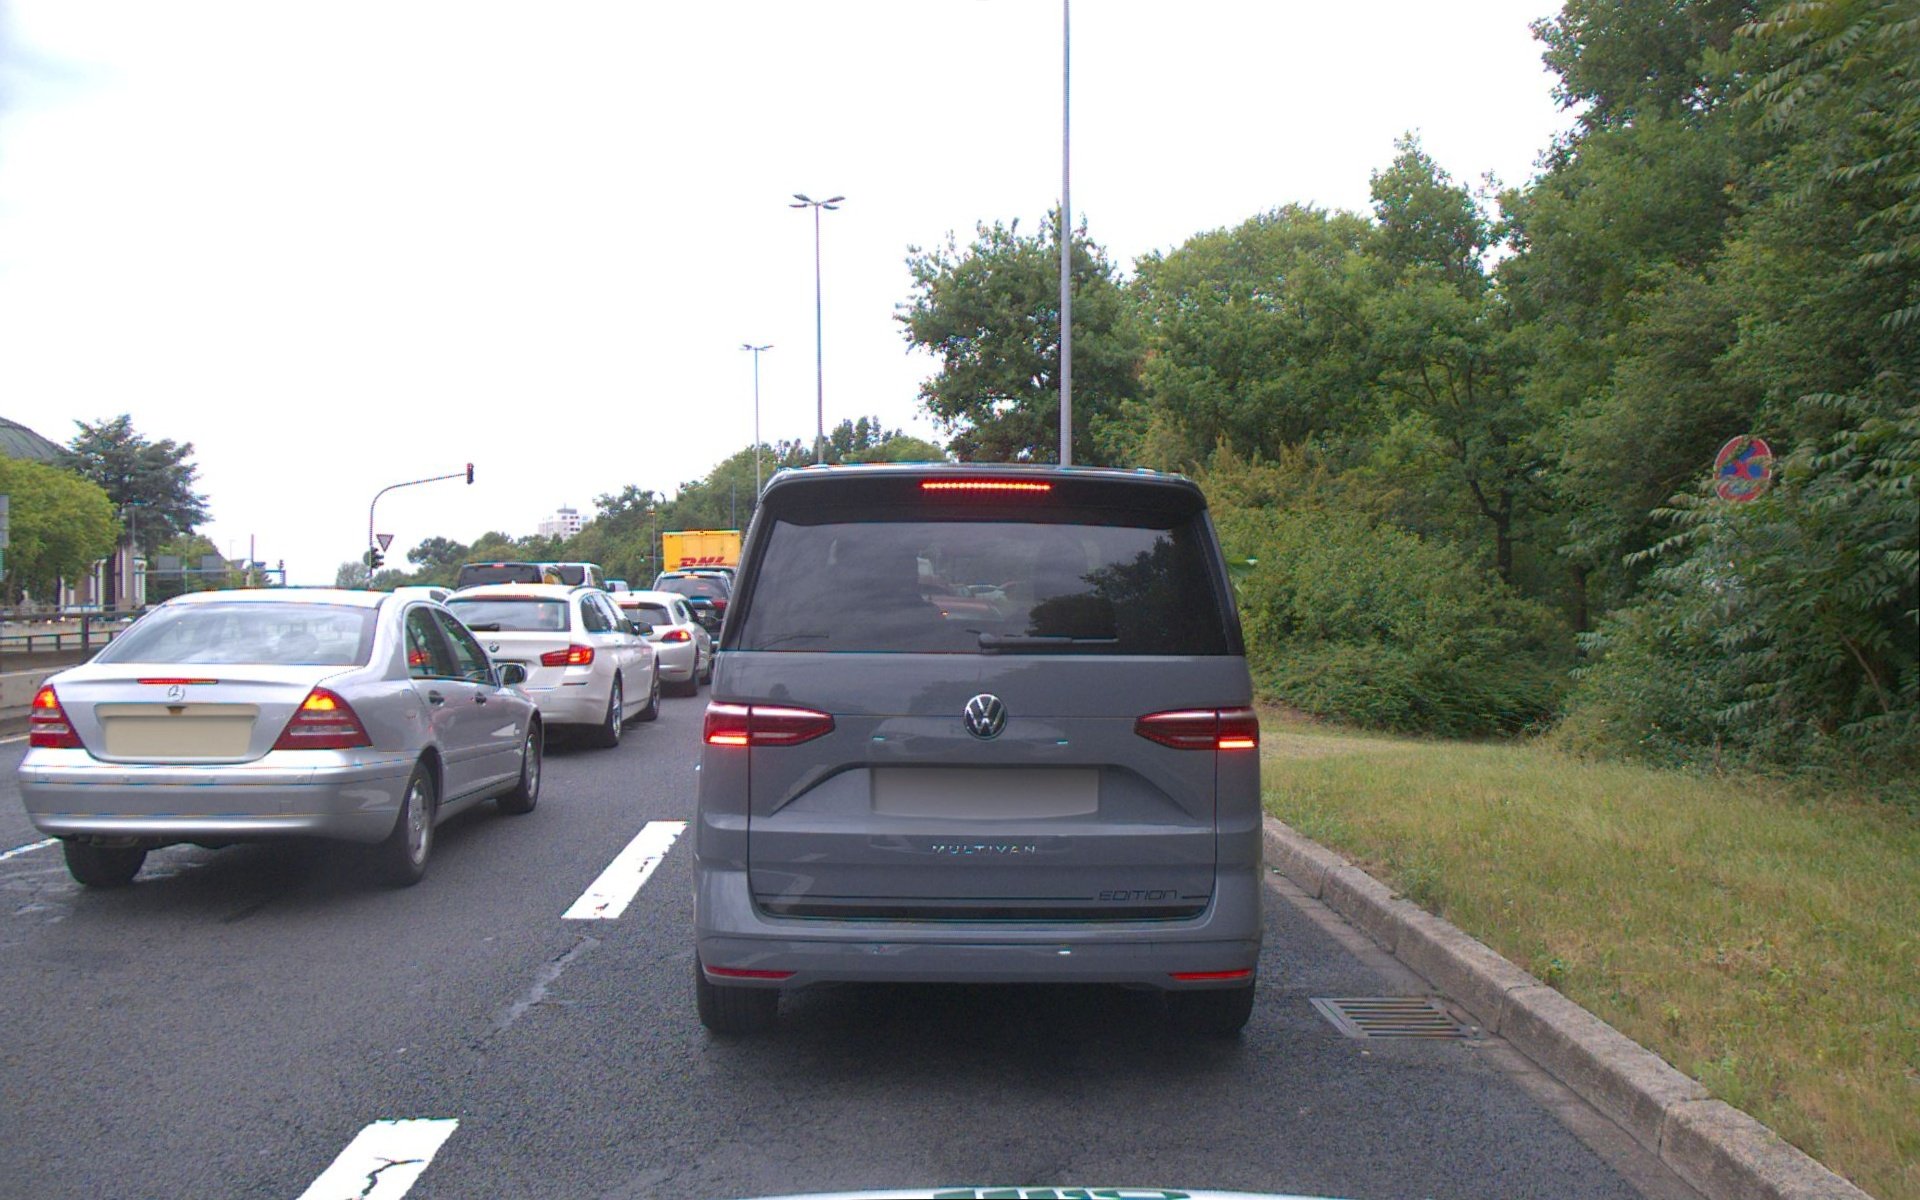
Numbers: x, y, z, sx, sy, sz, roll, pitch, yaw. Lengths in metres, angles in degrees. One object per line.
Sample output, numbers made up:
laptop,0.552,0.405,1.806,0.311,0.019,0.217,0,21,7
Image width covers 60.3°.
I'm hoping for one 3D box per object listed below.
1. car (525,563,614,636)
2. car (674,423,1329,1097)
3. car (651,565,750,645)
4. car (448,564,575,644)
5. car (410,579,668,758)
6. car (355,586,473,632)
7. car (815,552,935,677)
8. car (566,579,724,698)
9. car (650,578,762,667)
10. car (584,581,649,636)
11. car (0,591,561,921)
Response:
car,-9.761,-0.023,41.589,1.592,1.731,4.291,1,0,-5
car,0.119,0.457,6.956,1.860,1.917,4.415,1,0,0
car,-5.972,0.097,38.452,1.847,1.730,4.426,1,0,-4
car,-9.055,0.074,33.722,1.591,1.521,4.294,1,0,-3
car,-3.999,0.582,16.425,1.591,1.521,4.544,1,0,-3
car,-24.959,0.402,75.699,4.692,2.049,2.002,0,0,7
car,-1.454,0.221,27.899,1.847,1.912,4.426,1,0,-4
car,-4.347,0.493,23.390,1.591,1.521,4.294,1,0,-3
car,-4.632,0.389,30.605,1.591,1.521,4.294,1,0,-3
car,-11.225,0.257,54.213,1.592,1.731,4.291,1,0,-5
car,-3.470,0.673,9.292,1.591,1.419,4.306,1,0,-3
